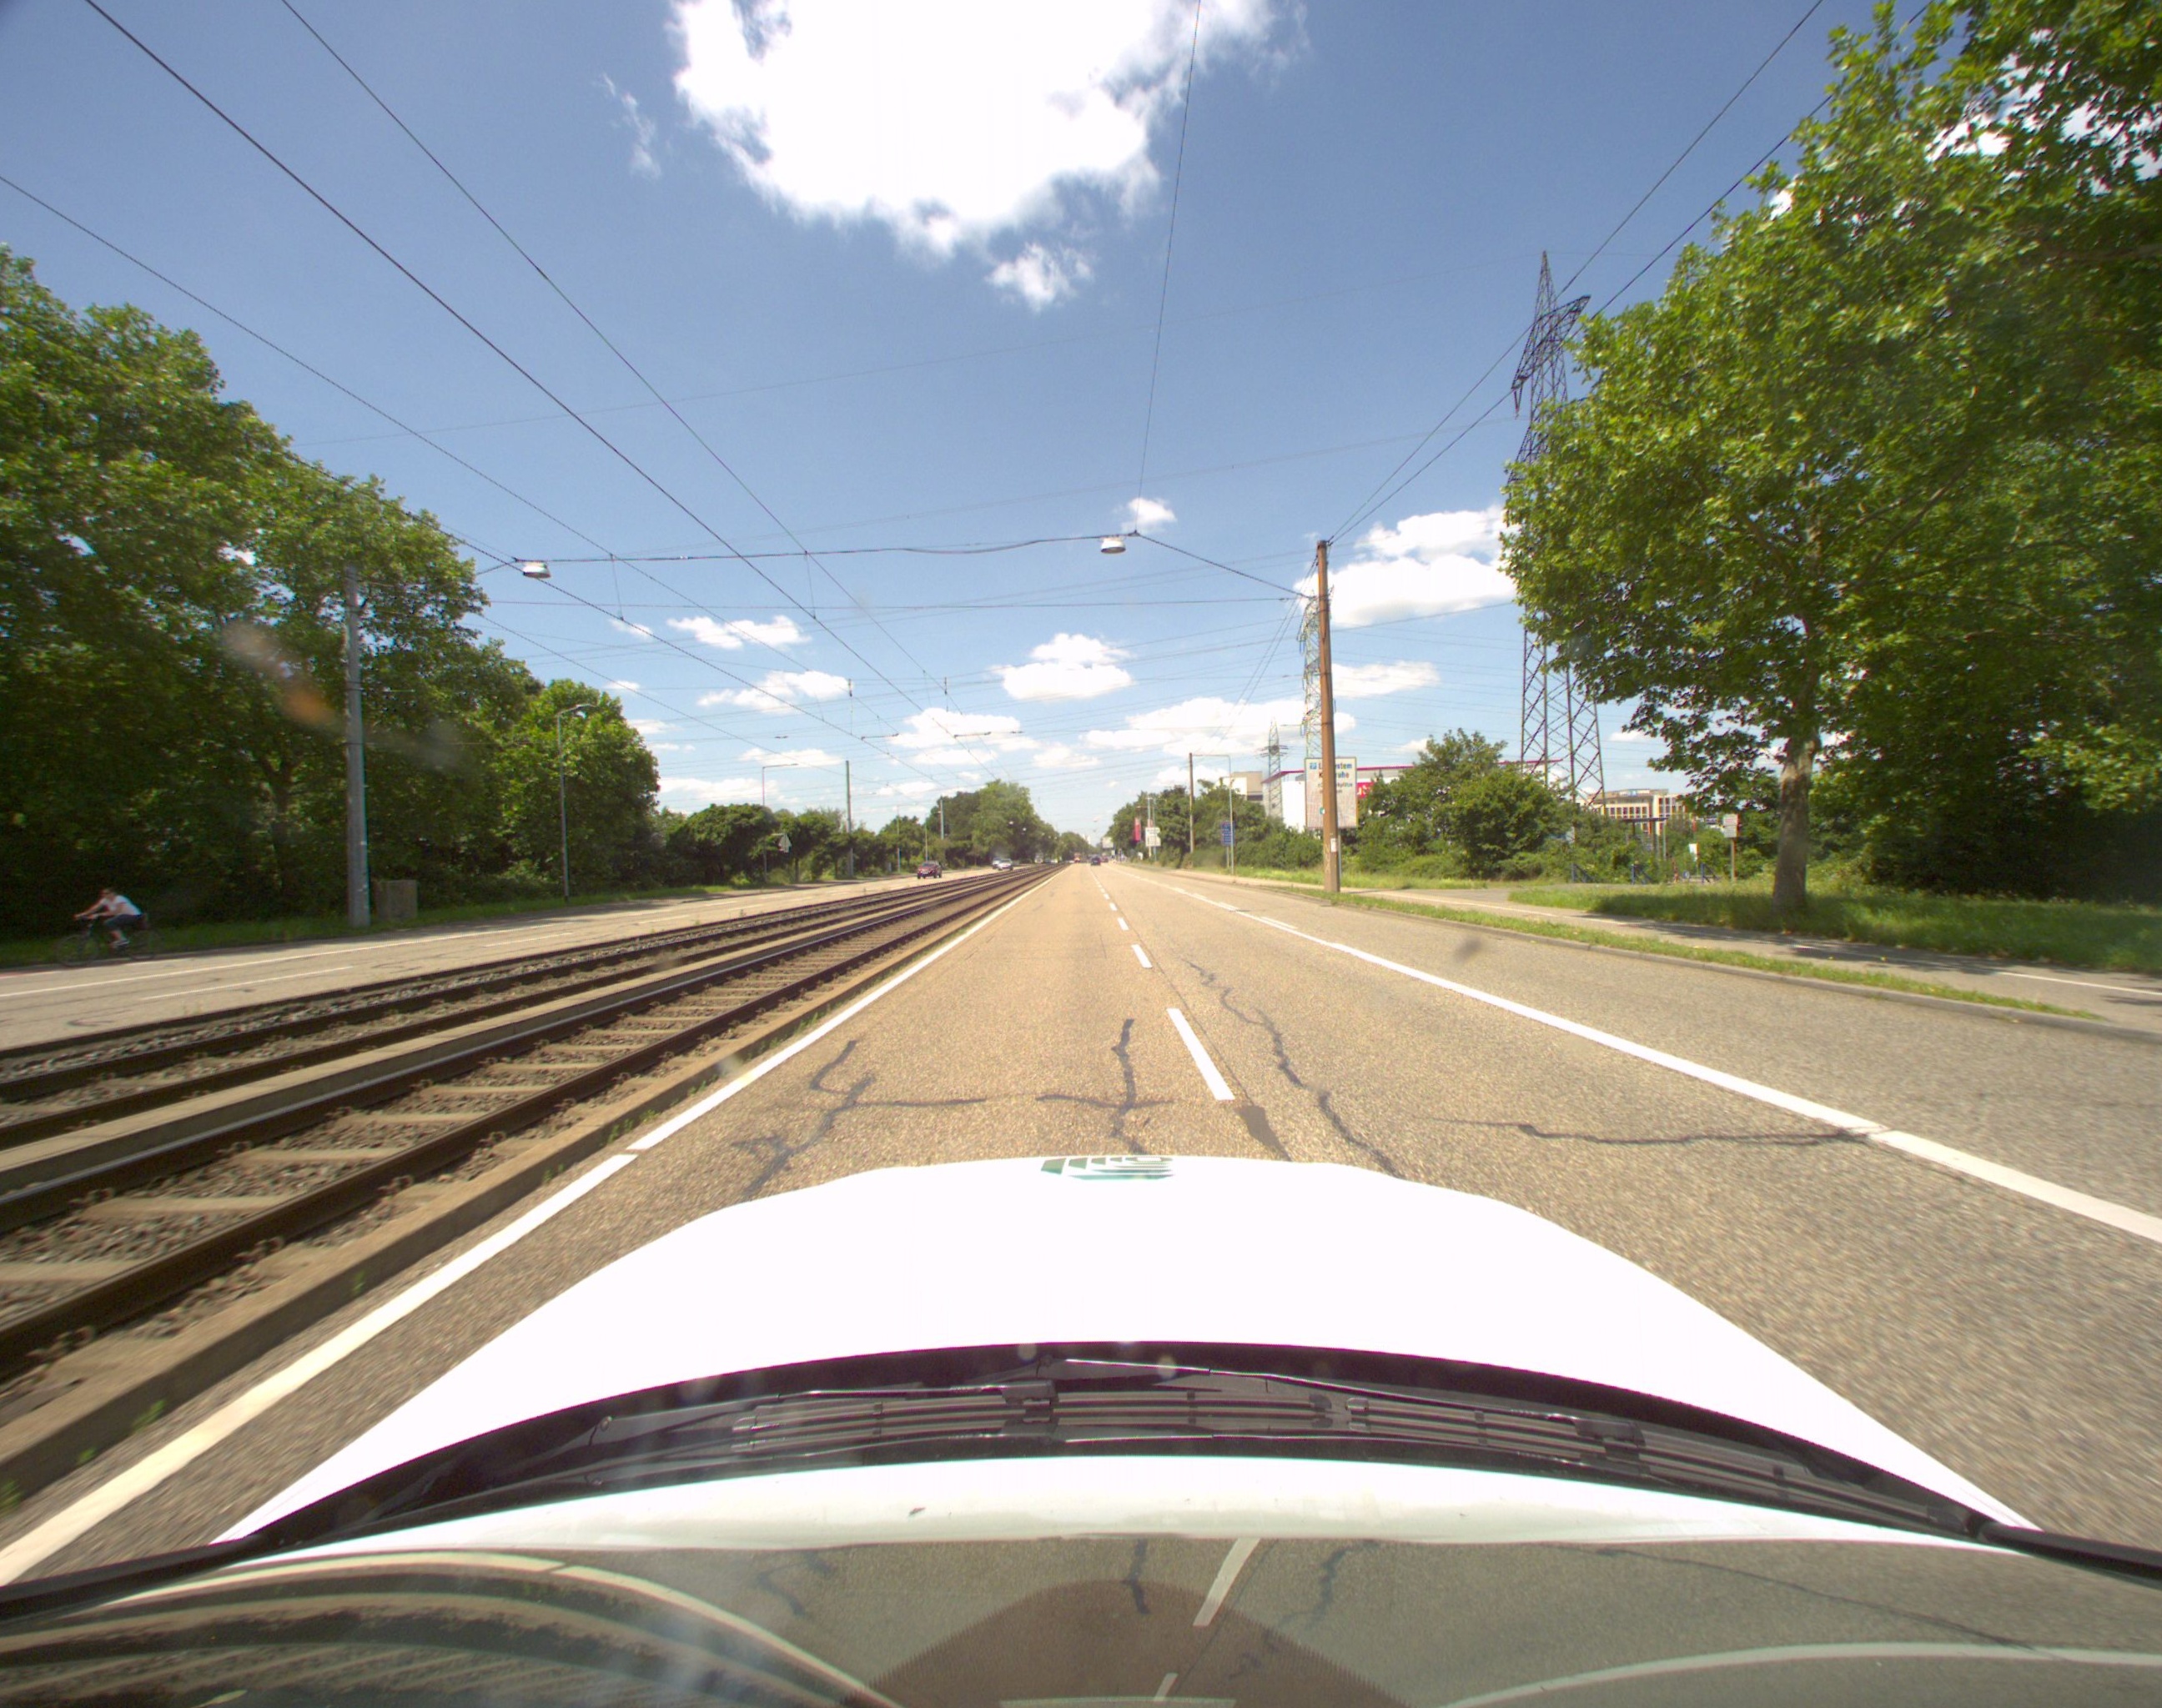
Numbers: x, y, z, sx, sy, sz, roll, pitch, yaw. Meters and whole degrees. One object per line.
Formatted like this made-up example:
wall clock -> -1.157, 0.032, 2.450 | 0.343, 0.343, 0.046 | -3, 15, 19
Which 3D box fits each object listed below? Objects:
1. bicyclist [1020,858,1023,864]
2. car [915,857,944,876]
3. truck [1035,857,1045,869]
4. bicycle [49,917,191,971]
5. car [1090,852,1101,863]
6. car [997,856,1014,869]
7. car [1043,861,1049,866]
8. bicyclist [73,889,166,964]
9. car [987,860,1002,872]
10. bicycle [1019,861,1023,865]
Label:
bicyclist -> -15.087, 1.713, 205.266 | 0.619, 1.617, 1.064 | 0, 0, 6
car -> -14.270, 1.170, 76.921 | 1.796, 1.625, 4.210 | -3, 0, 0
truck -> -11.514, 2.434, 229.093 | 2.241, 3.236, 6.044 | -2, 0, 2
bicycle -> -21.069, 1.957, 17.930 | 0.619, 0.939, 2.090 | -2, 0, -1
car -> 2.645, 0.608, 145.281 | 1.893, 1.805, 3.975 | 0, -1, 0
car -> -10.376, 1.136, 112.397 | 1.796, 1.625, 4.493 | -3, 0, 0
car -> -10.751, 2.871, 251.666 | 1.747, 1.535, 3.955 | -3, 0, -1
bicyclist -> -21.112, 1.566, 17.908 | 0.619, 1.518, 1.160 | -2, 0, -1
car -> -14.745, 2.060, 138.650 | 1.851, 1.927, 5.007 | -3, 0, 0
bicycle -> -15.088, 2.160, 205.301 | 0.619, 0.979, 2.058 | 1, 0, 6
